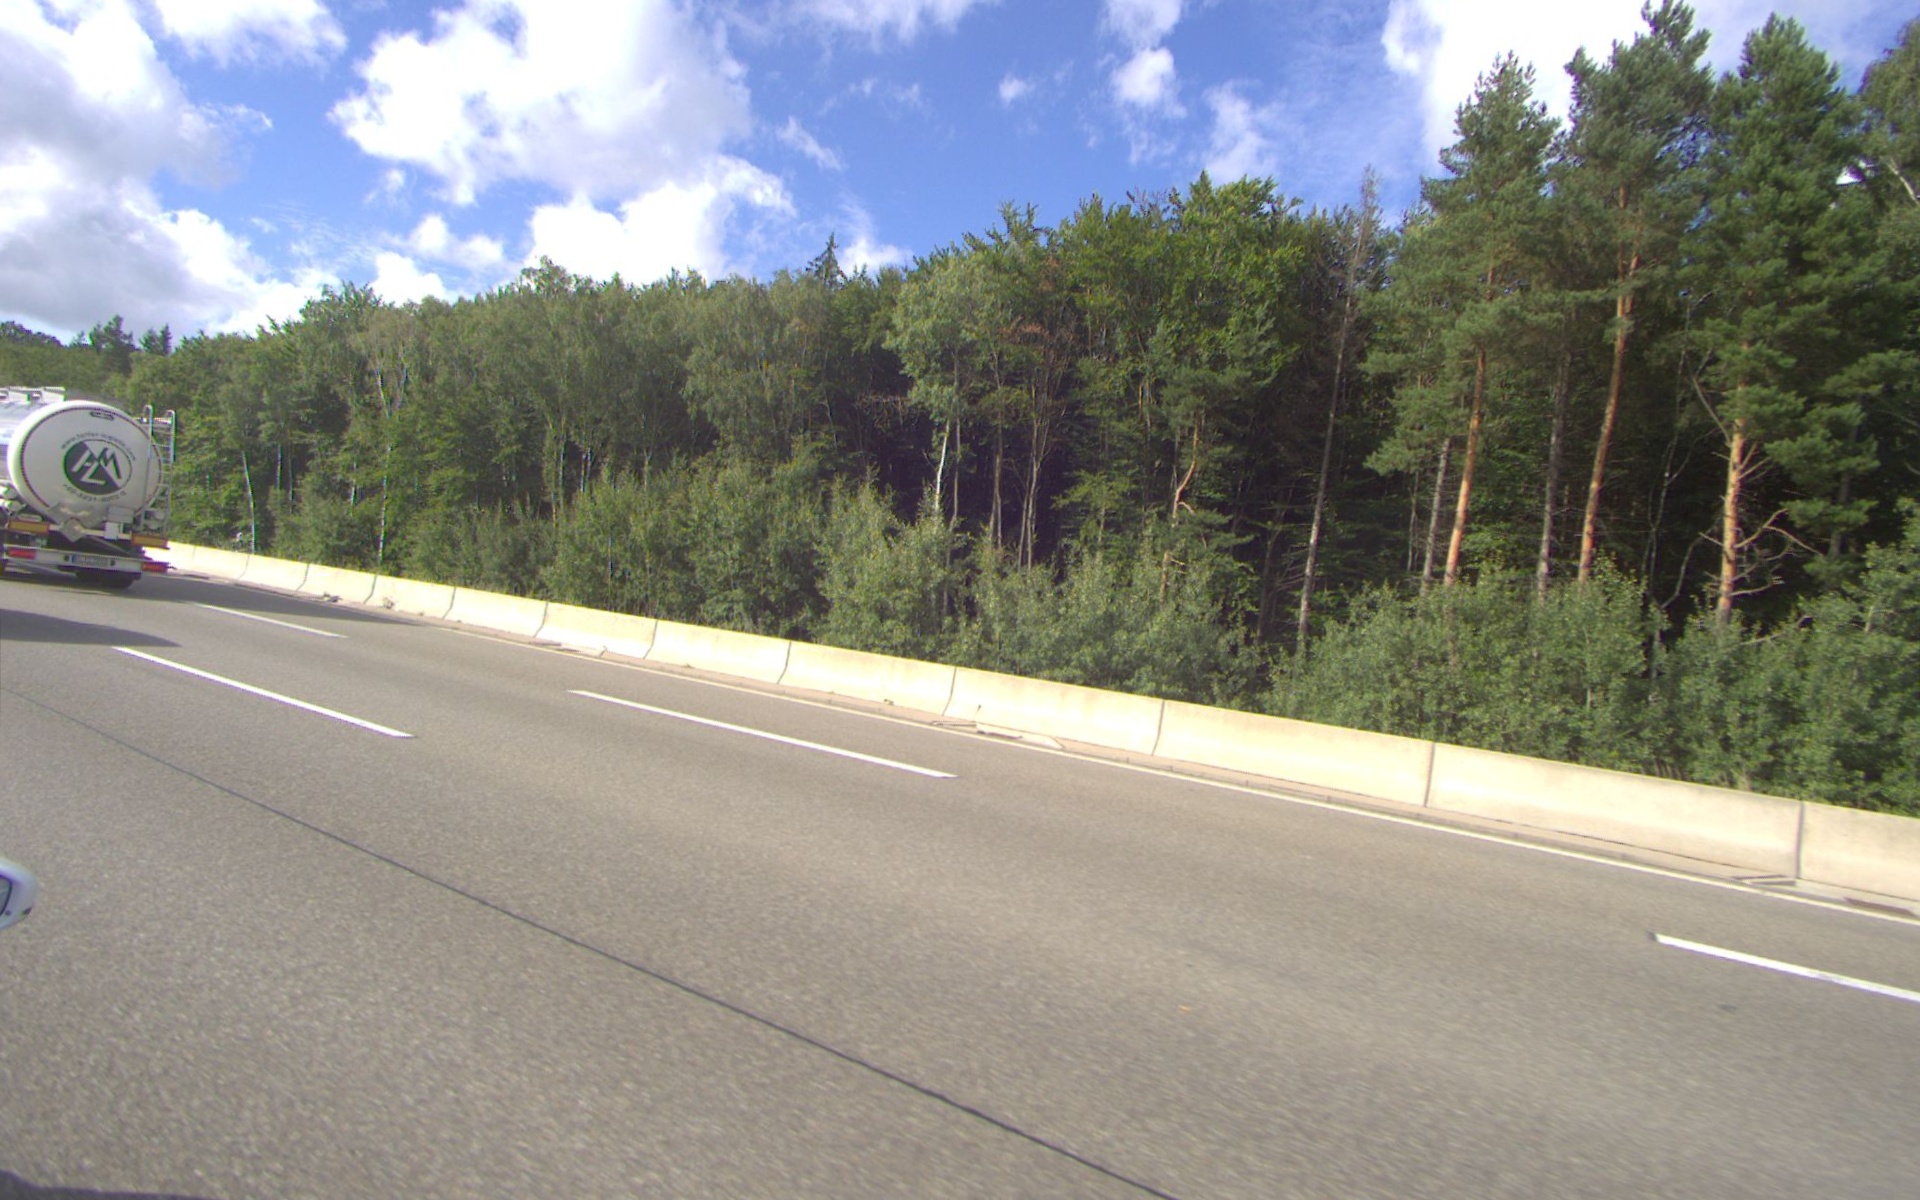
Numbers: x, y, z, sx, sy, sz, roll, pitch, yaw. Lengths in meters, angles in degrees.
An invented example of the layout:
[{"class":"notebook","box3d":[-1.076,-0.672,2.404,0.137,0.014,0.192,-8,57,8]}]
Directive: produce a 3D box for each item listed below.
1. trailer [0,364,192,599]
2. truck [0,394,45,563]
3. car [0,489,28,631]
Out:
[{"class":"trailer","box3d":[-20.559,-2.592,21.513,11.668,3.813,2.651,7,0,33]},{"class":"truck","box3d":[-25.437,-3.220,24.770,5.983,3.870,2.651,7,0,33]},{"class":"car","box3d":[-12.787,-0.716,11.645,4.384,1.548,1.776,7,-1,32]}]
